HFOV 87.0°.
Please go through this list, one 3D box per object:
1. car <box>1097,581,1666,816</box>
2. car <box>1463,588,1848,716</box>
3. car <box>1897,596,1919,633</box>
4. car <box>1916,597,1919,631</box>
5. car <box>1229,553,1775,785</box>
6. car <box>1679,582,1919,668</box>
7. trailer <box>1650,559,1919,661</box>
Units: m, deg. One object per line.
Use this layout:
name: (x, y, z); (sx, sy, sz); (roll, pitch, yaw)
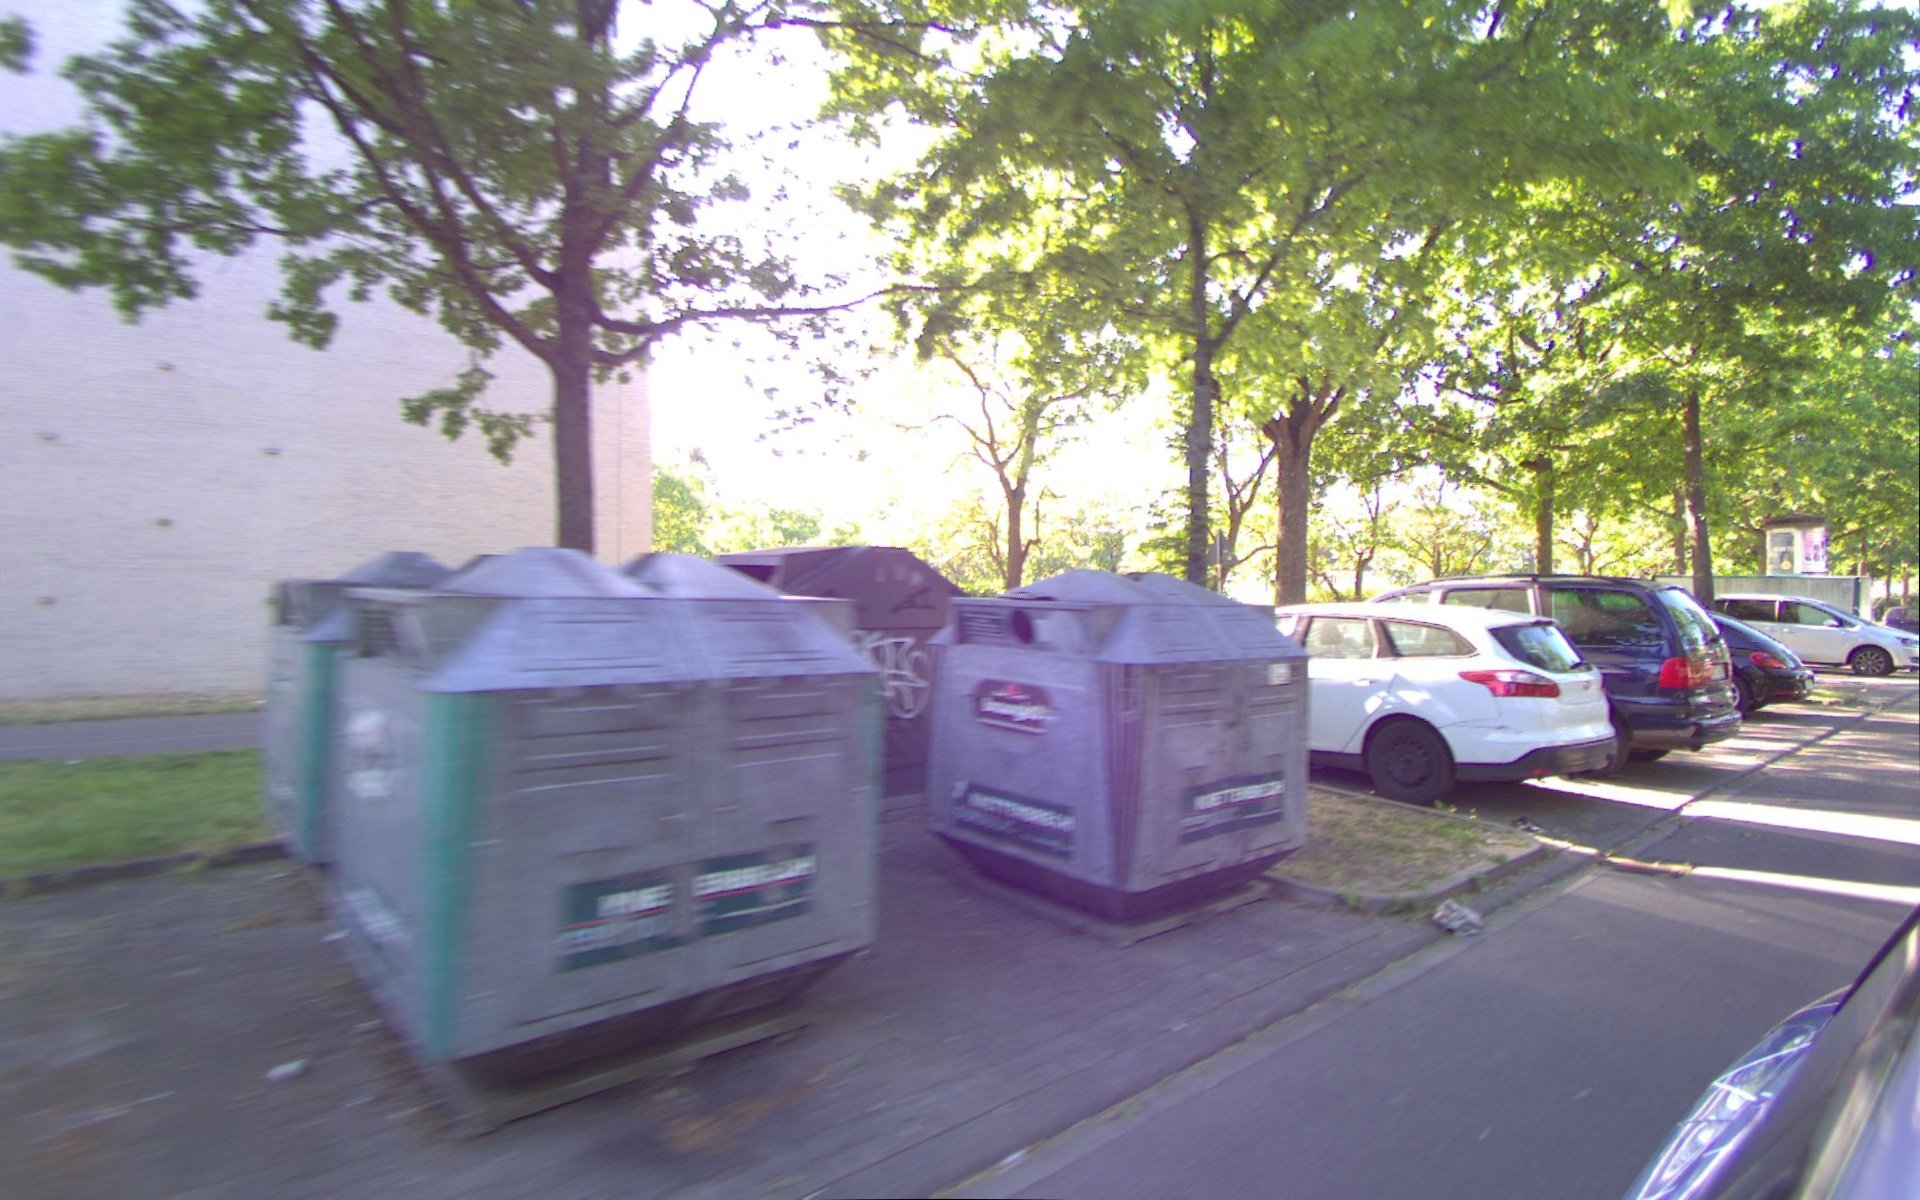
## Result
car: (3.359, 0.613, 8.796); (1.768, 1.490, 4.231); (0, 1, -39)
car: (9.997, 0.626, 14.822); (2.041, 1.538, 4.255); (0, 1, -39)
car: (43.577, 0.685, 44.319); (1.825, 1.596, 3.589); (0, 1, -41)
car: (47.360, 0.719, 47.351); (1.754, 1.596, 3.592); (0, 1, -39)
car: (5.219, 0.496, 10.310); (1.902, 1.824, 4.539); (0, 1, -40)
car: (19.564, 0.489, 23.226); (1.952, 1.744, 4.652); (0, 1, -40)
trailer: (21.123, 0.158, 25.608); (1.655, 2.346, 5.790); (0, 1, -38)
